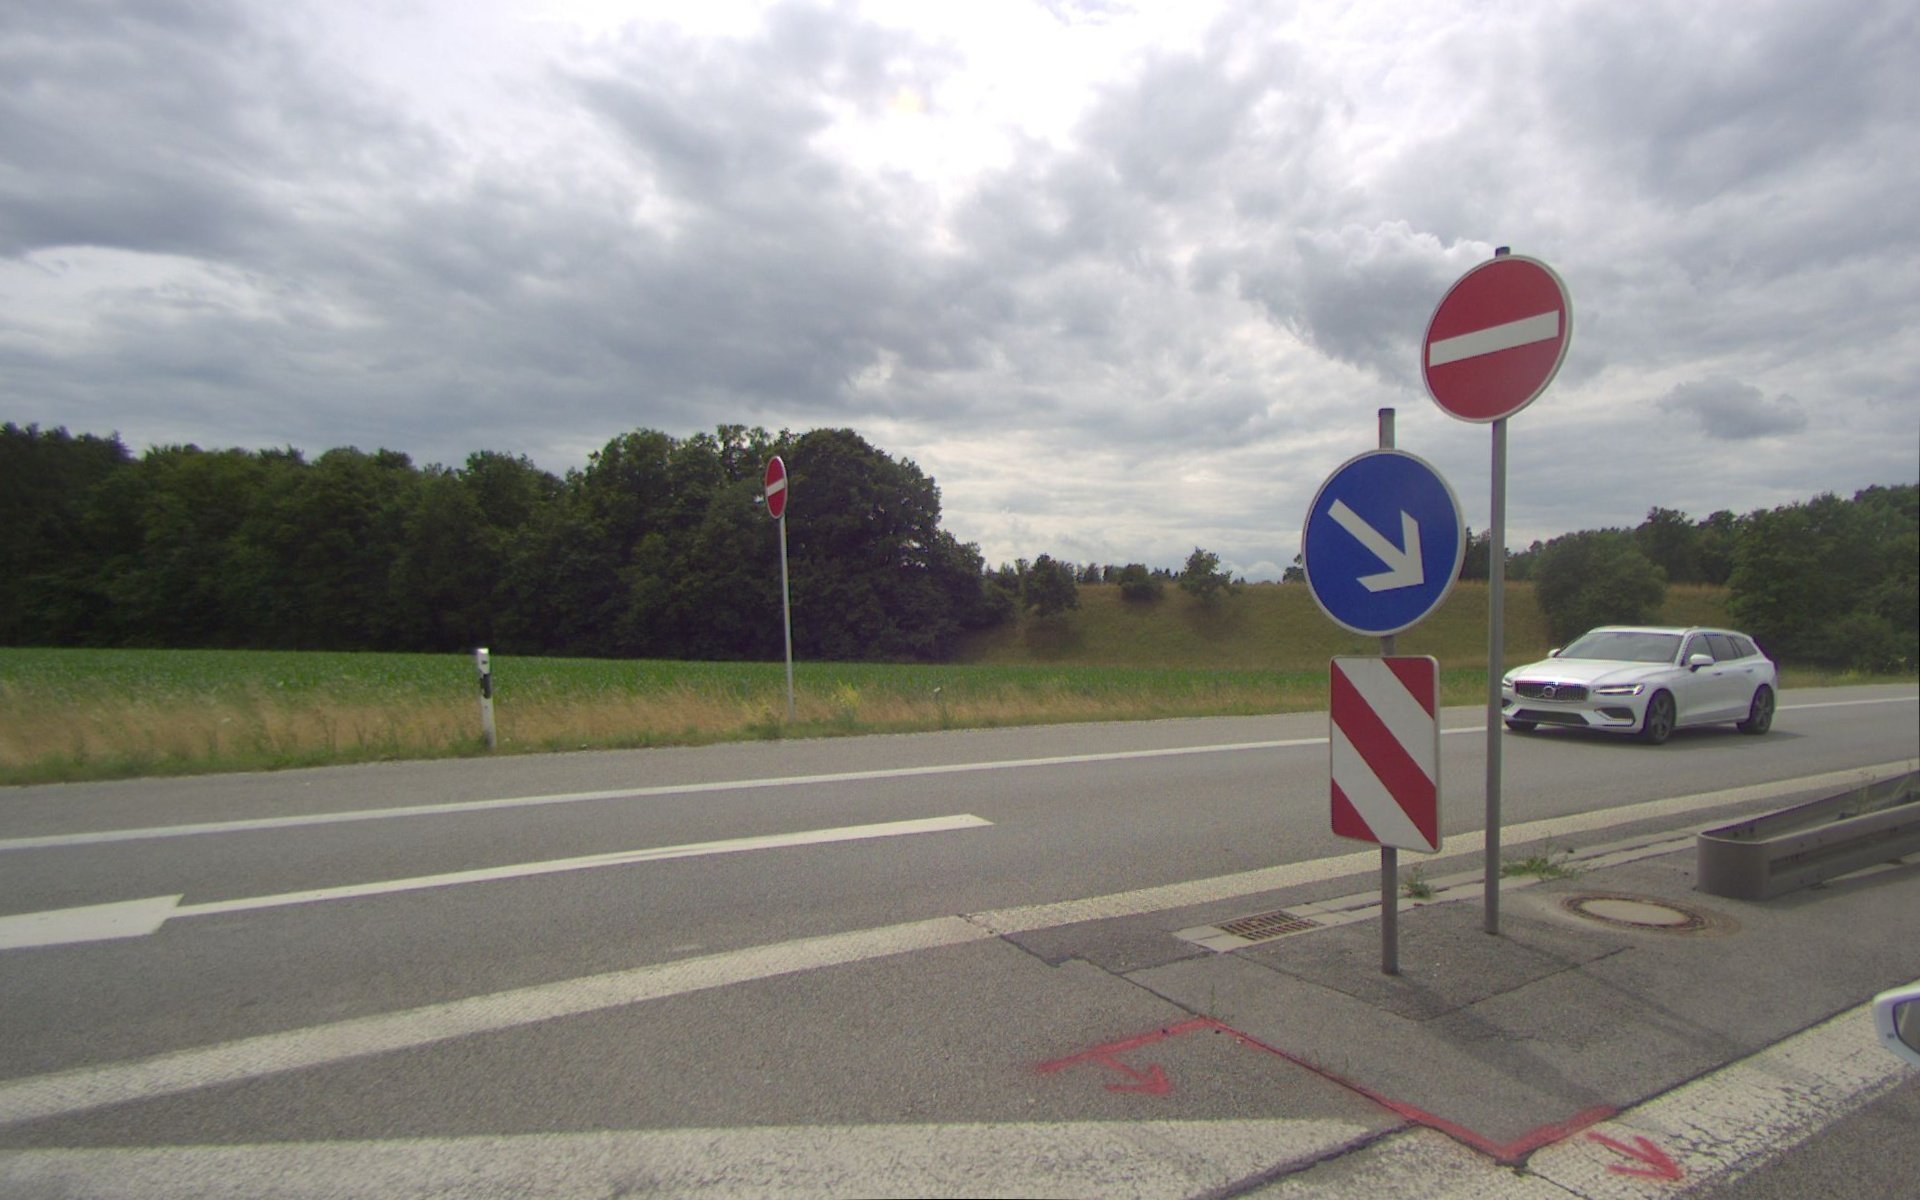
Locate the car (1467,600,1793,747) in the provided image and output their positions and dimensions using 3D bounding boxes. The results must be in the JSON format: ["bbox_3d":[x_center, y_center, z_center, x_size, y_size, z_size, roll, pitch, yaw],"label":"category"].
[{"bbox_3d":[9.015,0.902,13.418,4.549,1.654,1.808,2,0,-31],"label":"car"}]
